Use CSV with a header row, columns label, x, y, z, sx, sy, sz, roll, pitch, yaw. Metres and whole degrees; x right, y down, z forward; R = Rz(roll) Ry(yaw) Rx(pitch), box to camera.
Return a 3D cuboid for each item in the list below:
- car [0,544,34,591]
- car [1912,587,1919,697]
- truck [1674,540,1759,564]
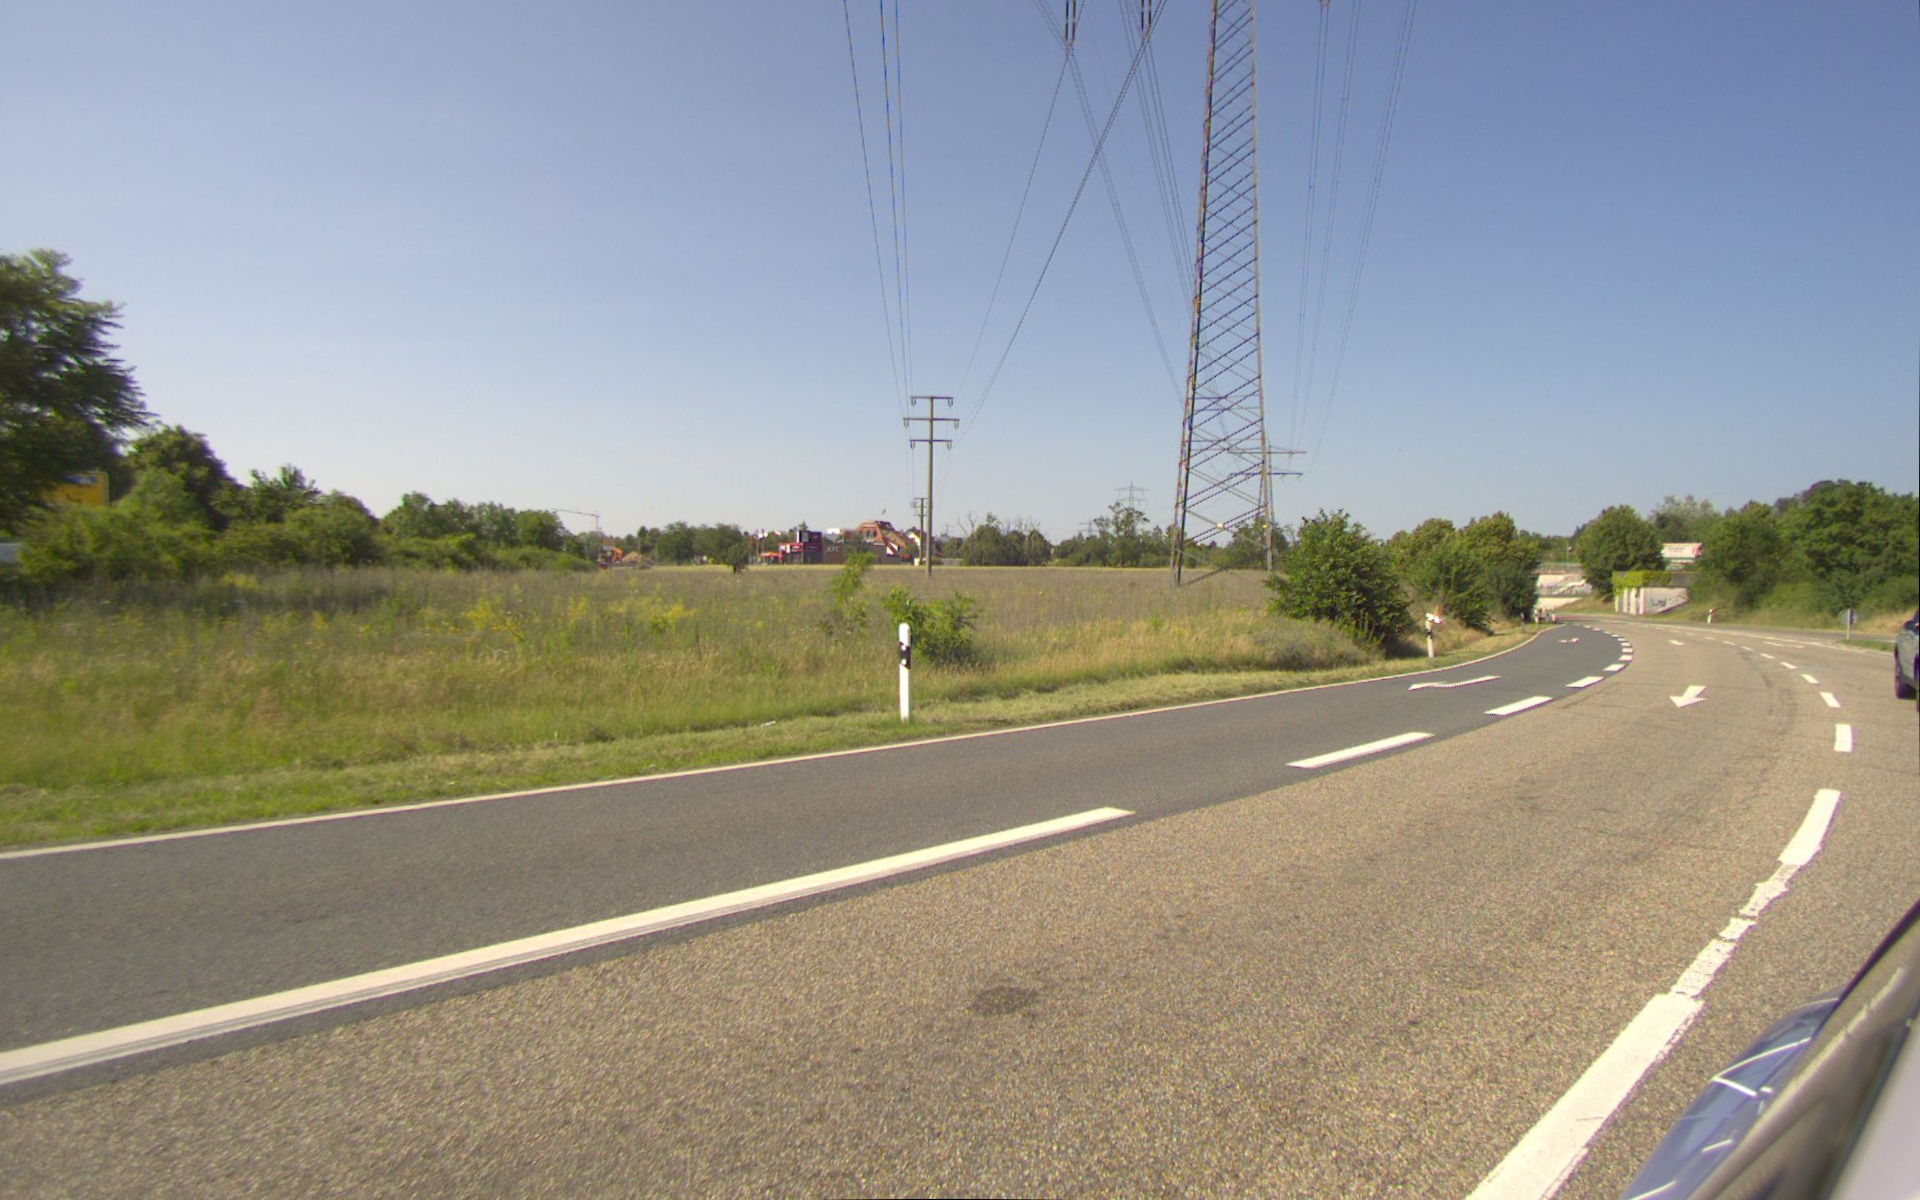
label,x,y,z,sx,sy,sz,roll,pitch,yaw
car,-51.751,-1.723,54.214,1.431,2.467,3.913,0,0,-12
car,14.536,0.626,13.910,1.852,1.640,3.595,0,0,39
truck,112.225,-7.107,150.335,2.329,3.067,10.166,0,0,-28
